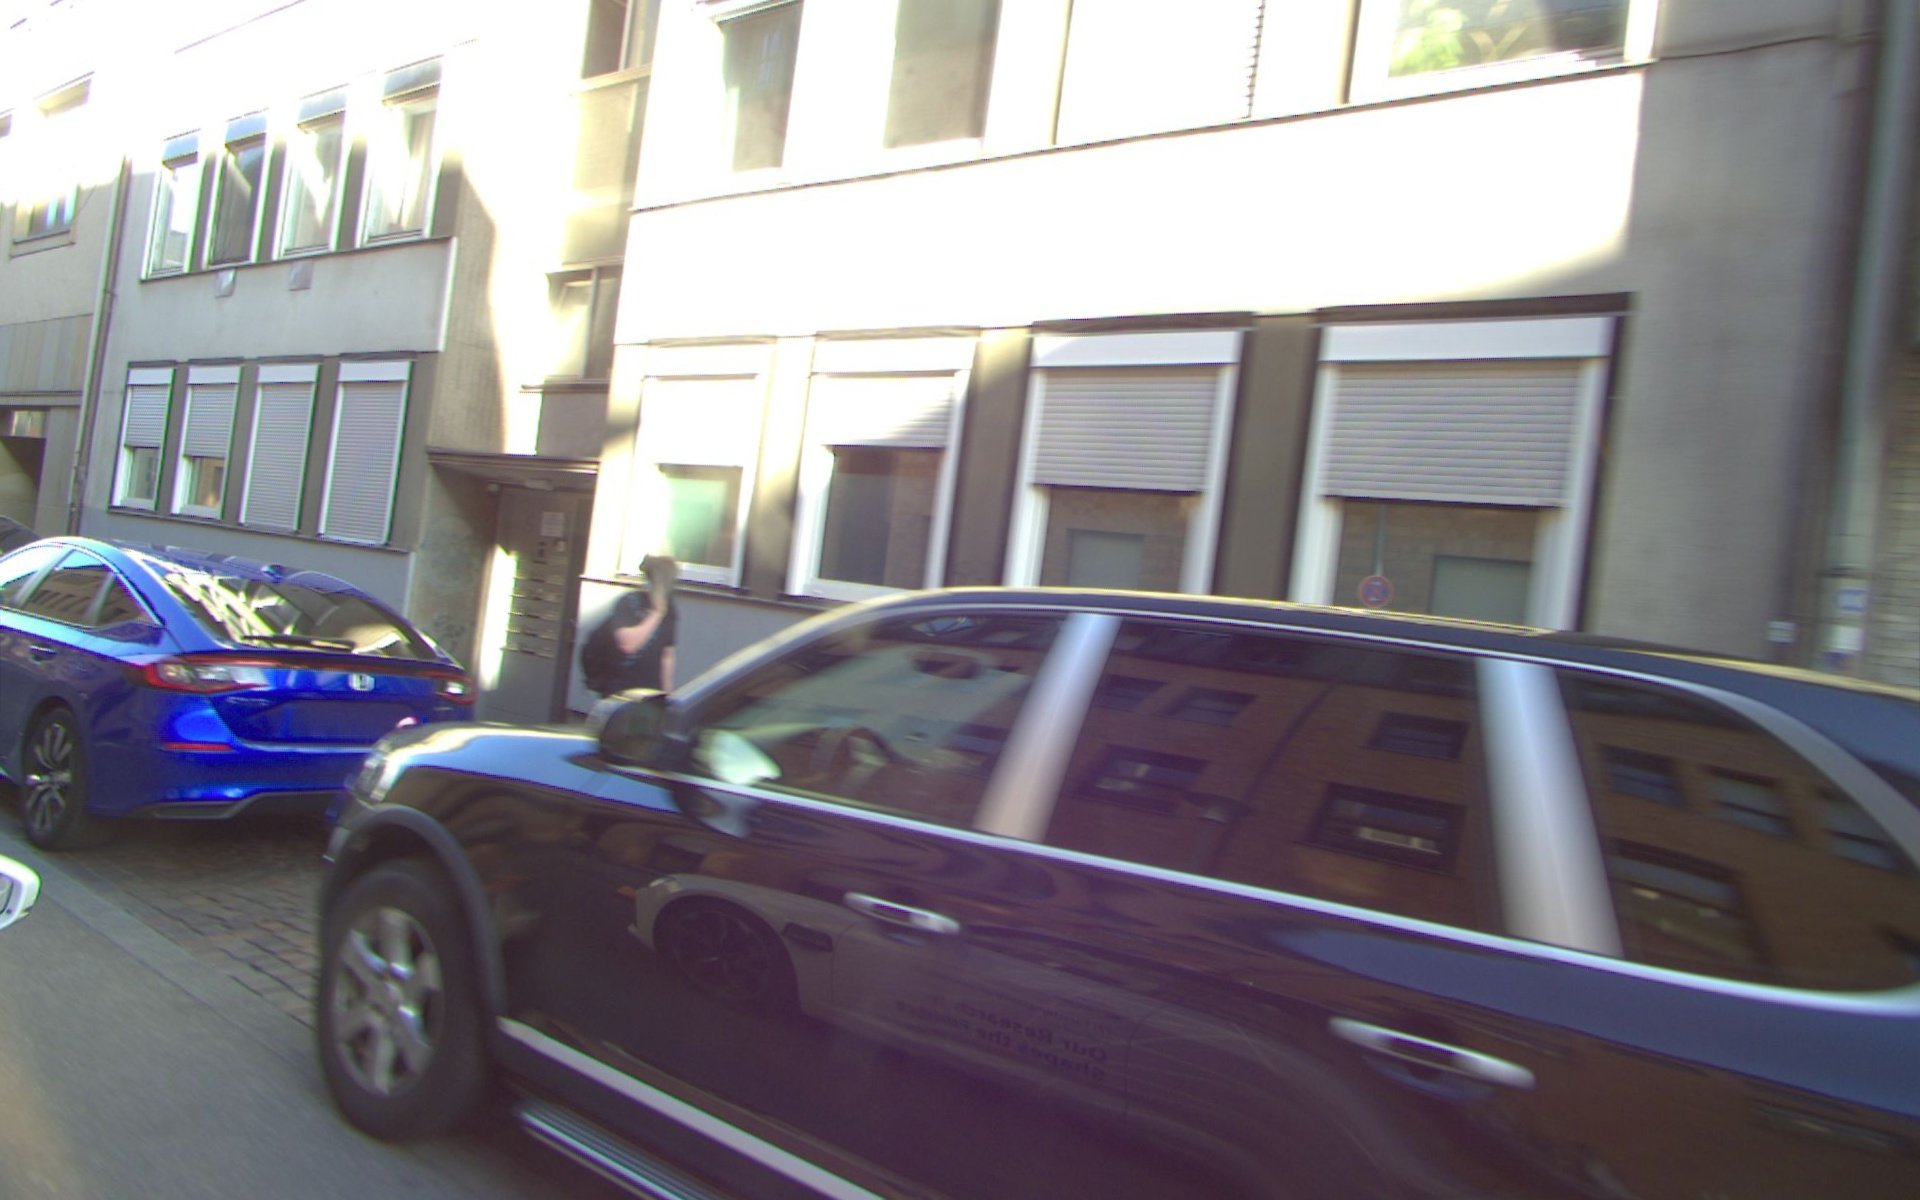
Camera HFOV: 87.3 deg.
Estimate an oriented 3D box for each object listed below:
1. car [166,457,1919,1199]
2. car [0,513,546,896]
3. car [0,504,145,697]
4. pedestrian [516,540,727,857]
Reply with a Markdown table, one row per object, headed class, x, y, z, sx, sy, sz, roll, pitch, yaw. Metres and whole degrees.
| class | x | y | z | sx | sy | sz | roll | pitch | yaw |
| --- | --- | --- | --- | --- | --- | --- | --- | --- | --- |
| car | 0.230 | 0.817 | 2.768 | 4.968 | 1.805 | 2.108 | 7 | -3 | 32 |
| car | -4.882 | 0.350 | 6.035 | 4.709 | 1.428 | 1.813 | 7 | -3 | 30 |
| car | -9.704 | -0.282 | 9.066 | 5.138 | 1.469 | 1.899 | 7 | -3 | 31 |
| pedestrian | -2.068 | 0.569 | 6.182 | 0.734 | 1.743 | 0.789 | 7 | 2 | 31 |
